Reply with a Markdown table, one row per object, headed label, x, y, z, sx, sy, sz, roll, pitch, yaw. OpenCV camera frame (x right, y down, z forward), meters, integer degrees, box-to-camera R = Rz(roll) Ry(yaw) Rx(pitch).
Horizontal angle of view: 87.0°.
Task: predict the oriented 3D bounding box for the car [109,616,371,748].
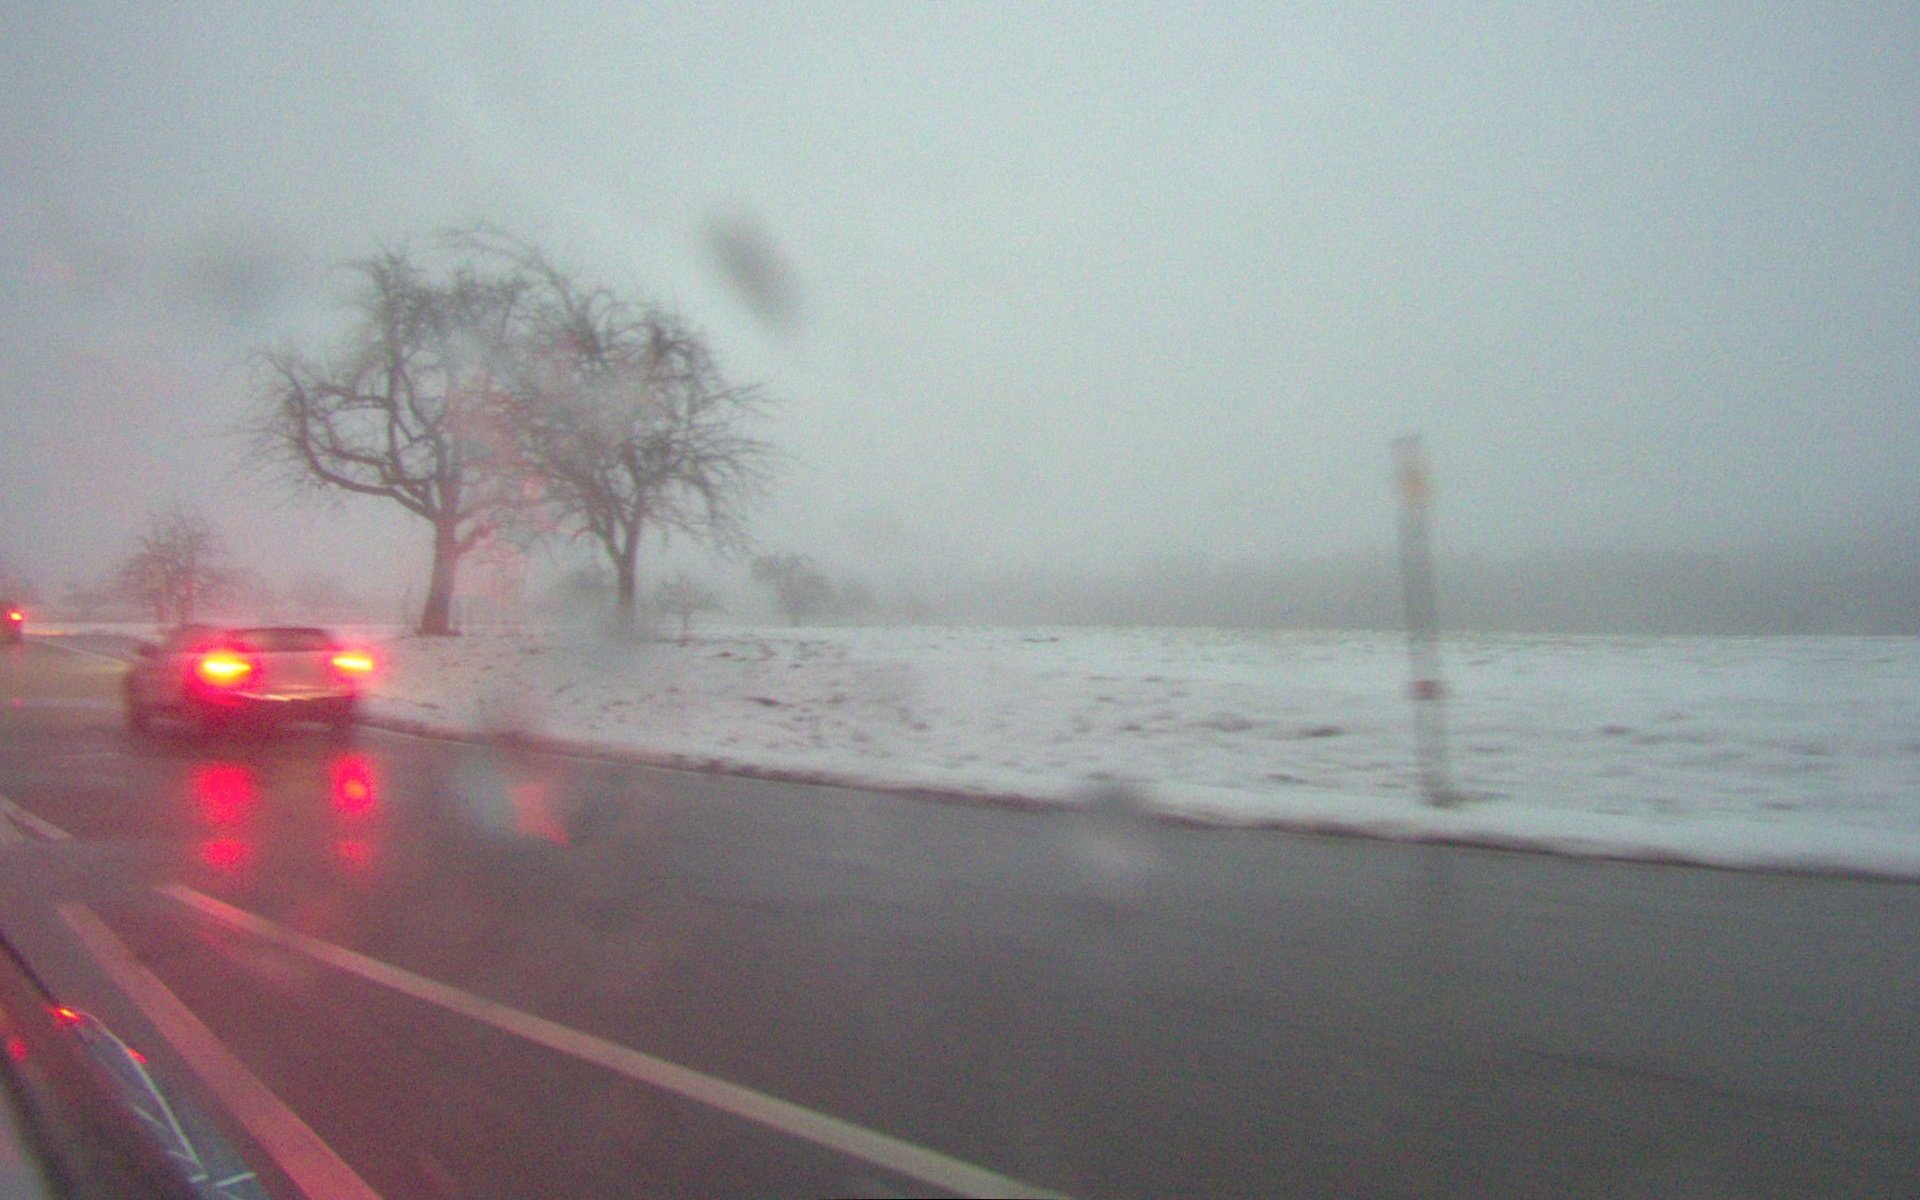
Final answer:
| label | x | y | z | sx | sy | sz | roll | pitch | yaw |
| --- | --- | --- | --- | --- | --- | --- | --- | --- | --- |
| car | -9.601 | 1.015 | 13.408 | 3.998 | 1.498 | 1.725 | -2 | -3 | 38 |

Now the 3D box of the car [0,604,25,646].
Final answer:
| label | x | y | z | sx | sy | sz | roll | pitch | yaw |
| --- | --- | --- | --- | --- | --- | --- | --- | --- | --- |
| car | -41.340 | 1.071 | 43.441 | 1.731 | 1.706 | 4.431 | 0 | -1 | -43 |
